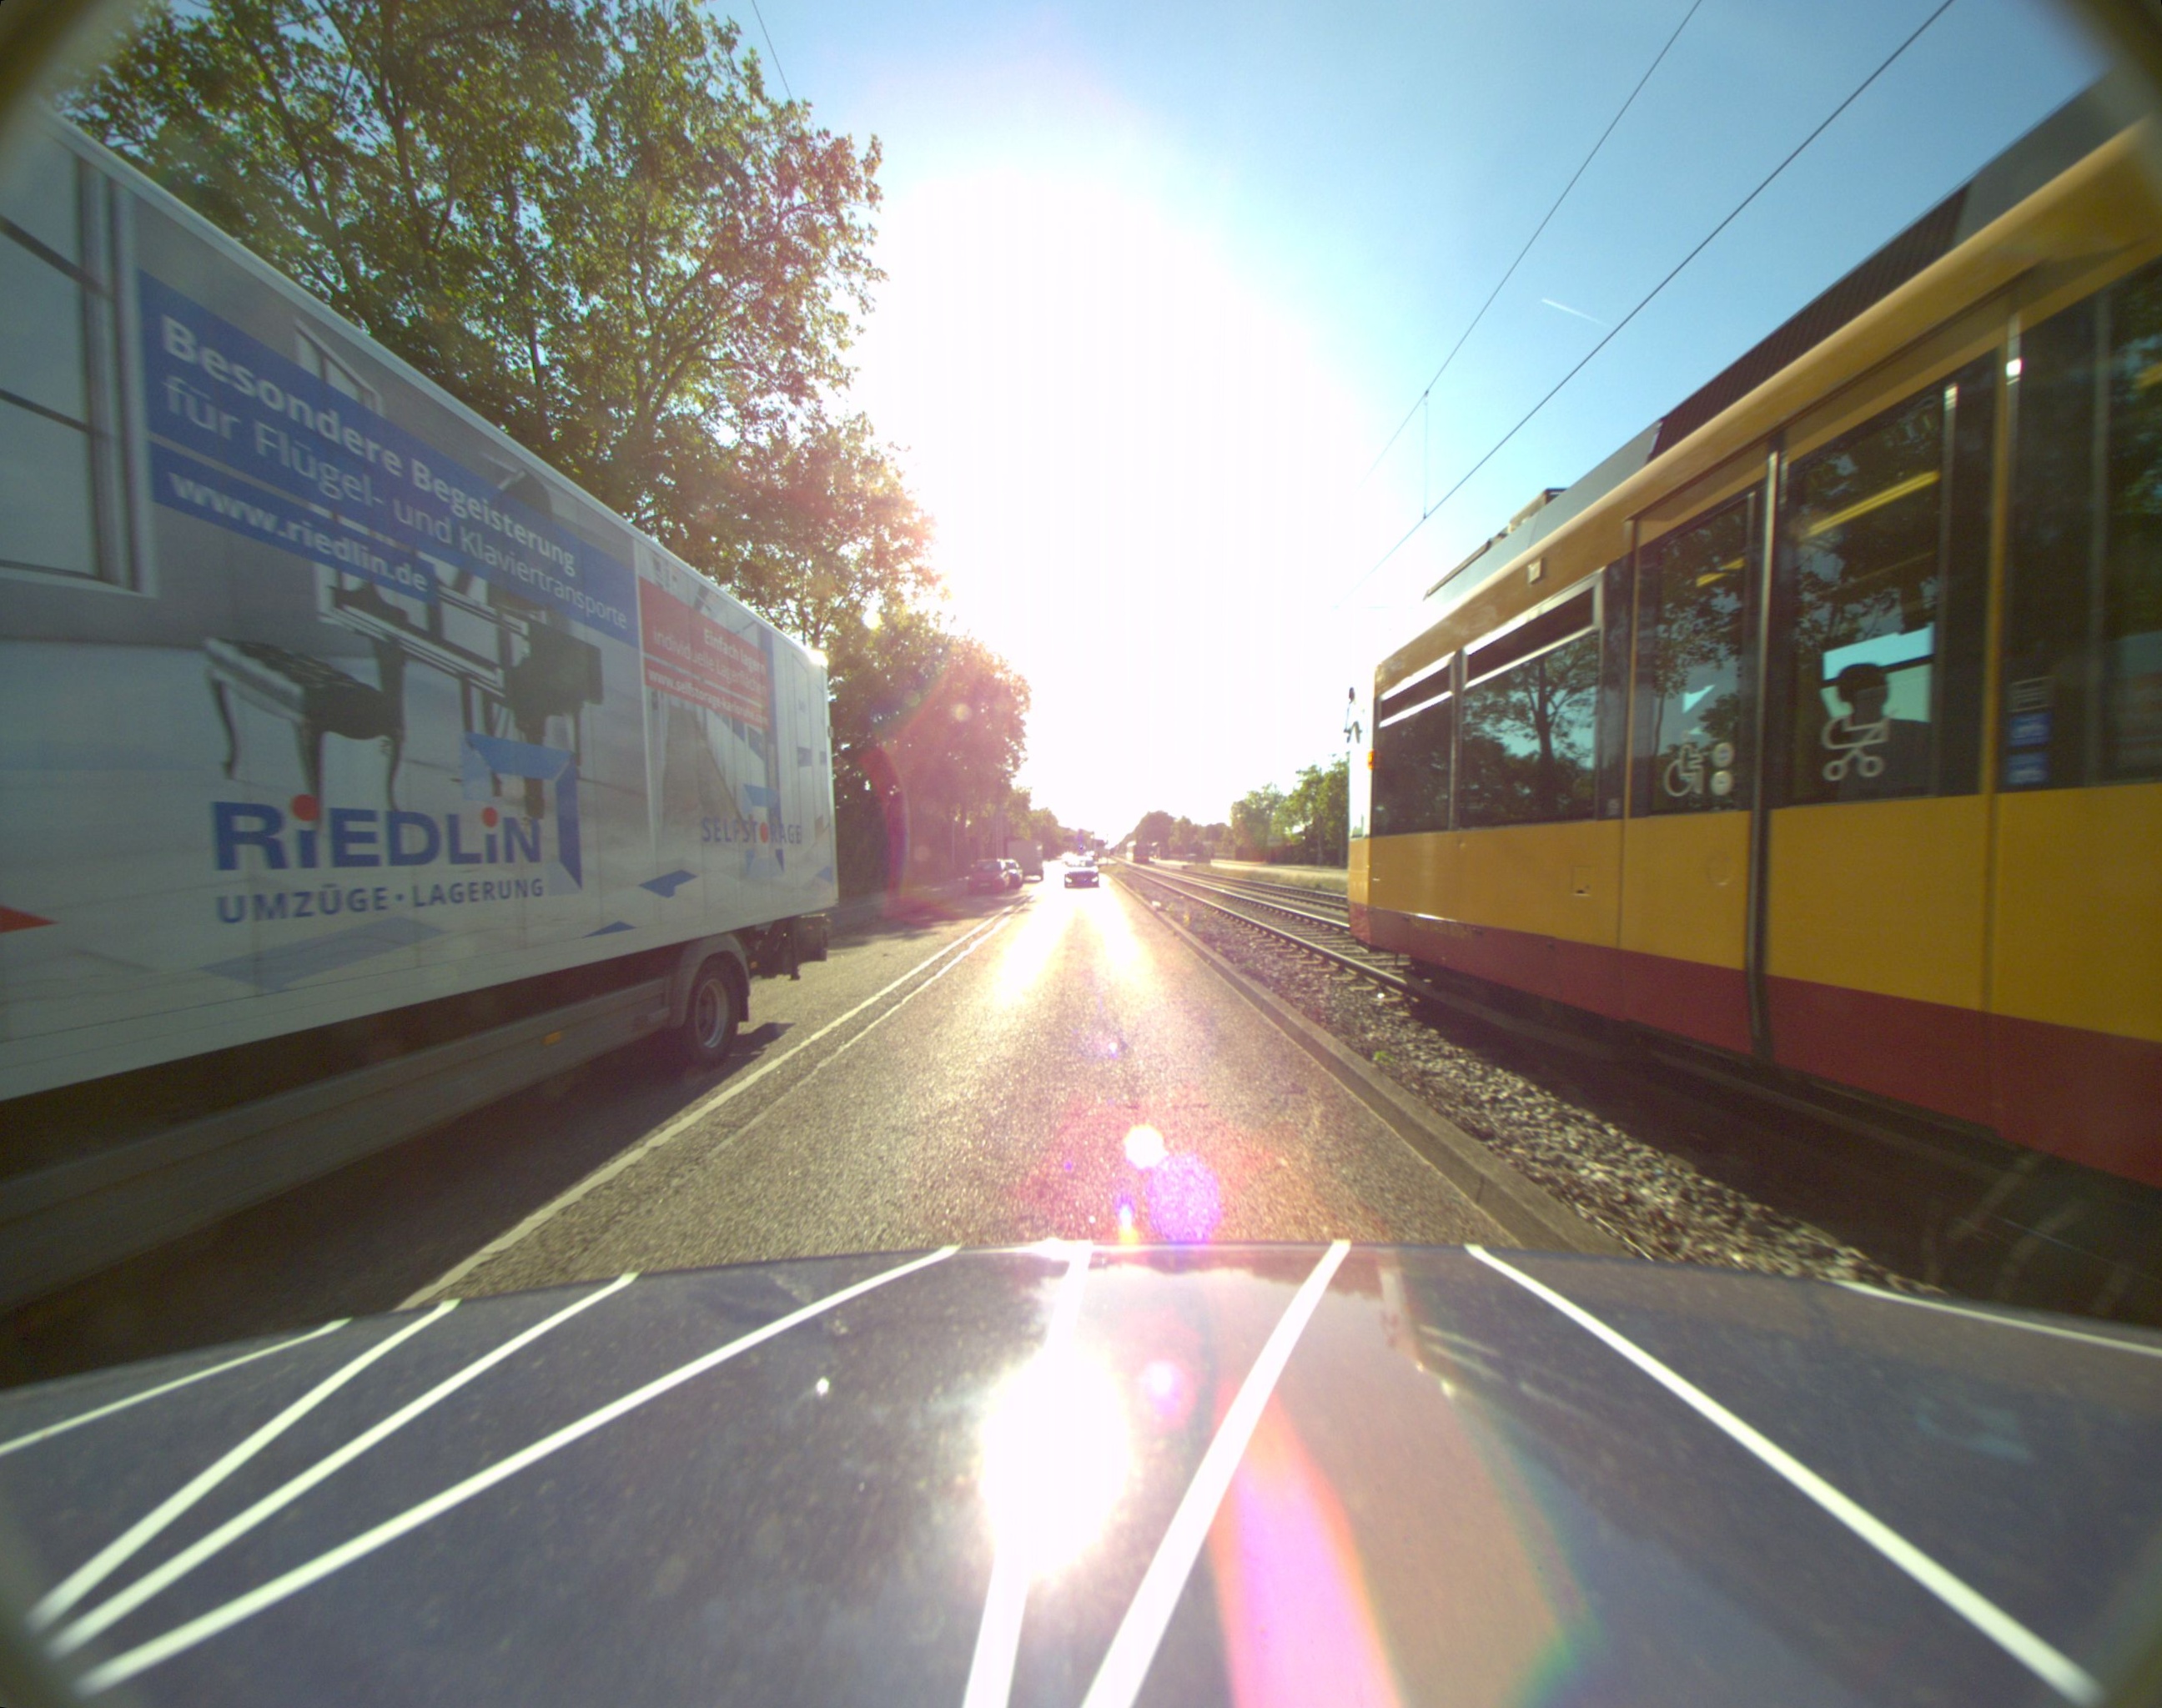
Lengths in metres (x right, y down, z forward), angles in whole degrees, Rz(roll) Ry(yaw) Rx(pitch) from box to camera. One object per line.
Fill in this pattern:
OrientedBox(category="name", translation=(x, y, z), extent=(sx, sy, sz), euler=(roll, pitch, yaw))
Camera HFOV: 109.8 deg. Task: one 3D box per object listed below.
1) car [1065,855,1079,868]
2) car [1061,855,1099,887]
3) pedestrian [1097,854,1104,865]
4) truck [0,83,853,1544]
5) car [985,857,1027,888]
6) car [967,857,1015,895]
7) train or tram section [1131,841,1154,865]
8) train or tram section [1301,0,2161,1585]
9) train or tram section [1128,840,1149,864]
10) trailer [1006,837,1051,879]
OrientedBox(category="car", translation=(-1.175, 0.962, 100.770), extent=(1.784, 1.586, 4.000), euler=(-1, 0, 1))
OrientedBox(category="car", translation=(0.007, 0.811, 38.917), extent=(1.786, 1.530, 4.000), euler=(-1, 0, 2))
OrientedBox(category="pedestrian", translation=(2.614, 0.695, 101.580), extent=(0.760, 1.485, 0.696), euler=(-1, 1, 34))
OrientedBox(category="truck", translation=(-4.137, -0.105, 3.794), extent=(2.749, 3.761, 10.088), euler=(-2, 0, 0))
OrientedBox(category="car", translation=(-3.922, 0.929, 40.271), extent=(1.813, 1.448, 4.165), euler=(-2, 0, -1))
OrientedBox(category="car", translation=(-4.115, 0.970, 35.115), extent=(1.644, 1.528, 3.640), euler=(-3, 0, 1))
OrientedBox(category="train or tram section", translation=(9.831, -0.244, 122.642), extent=(2.834, 3.665, 12.968), euler=(-2, 0, 2))
OrientedBox(category="train or tram section", translation=(3.917, -0.310, 2.111), extent=(2.728, 4.067, 13.614), euler=(0, 0, 0))
OrientedBox(category="train or tram section", translation=(10.279, -0.426, 137.059), extent=(2.834, 3.982, 15.874), euler=(-2, 0, 2))
OrientedBox(category="trailer", translation=(-3.530, 0.270, 52.394), extent=(2.256, 2.679, 5.948), euler=(-1, 0, 4))
